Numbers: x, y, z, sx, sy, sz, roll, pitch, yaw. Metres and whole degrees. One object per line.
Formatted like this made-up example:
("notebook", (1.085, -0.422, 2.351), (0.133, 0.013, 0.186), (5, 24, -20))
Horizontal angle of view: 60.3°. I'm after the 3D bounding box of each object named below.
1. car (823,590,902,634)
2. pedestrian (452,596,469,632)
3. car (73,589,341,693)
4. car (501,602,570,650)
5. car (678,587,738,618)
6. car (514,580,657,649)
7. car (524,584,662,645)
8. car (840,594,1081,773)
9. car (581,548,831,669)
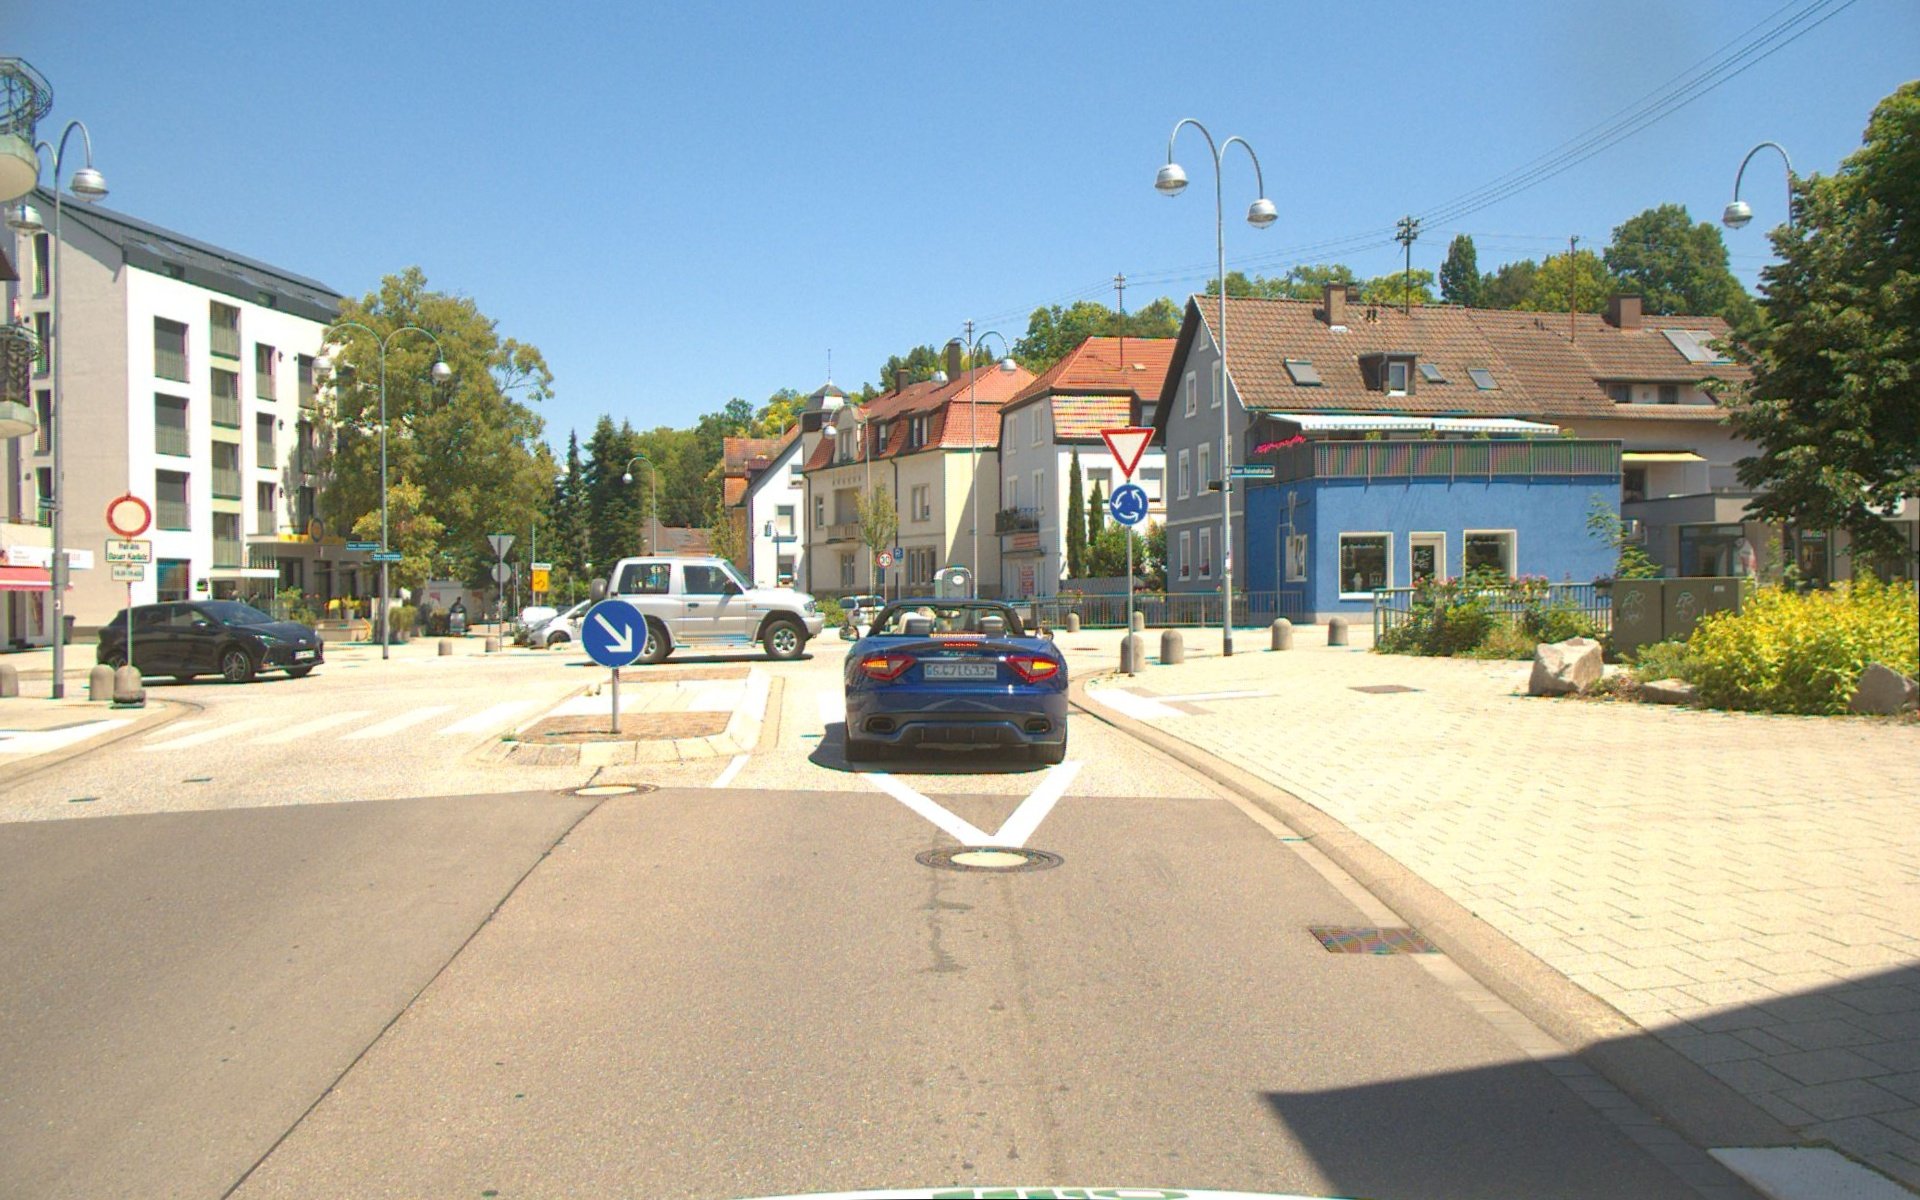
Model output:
("car", (-3.911, 0.495, 65.718), (1.892, 1.641, 4.120), (-2, -1, -22))
("pedestrian", (-22.919, 0.644, 75.929), (0.523, 1.603, 0.563), (-2, 0, 9))
("car", (-13.972, 0.743, 30.800), (4.158, 1.573, 1.813), (-4, 2, 10))
("car", (-14.976, 0.886, 58.490), (1.957, 1.535, 3.991), (-3, 0, -10))
("car", (-14.103, 0.143, 92.443), (1.833, 1.616, 3.956), (-3, 1, -32))
("car", (-8.248, 0.319, 36.195), (1.972, 1.353, 4.160), (-2, 0, -29))
("car", (-9.943, 0.383, 44.811), (3.412, 1.476, 1.569), (-2, 0, -23))
("car", (-0.021, 0.643, 14.995), (1.872, 1.384, 4.285), (0, 0, -1))
("car", (-4.414, 0.138, 29.217), (4.133, 1.907, 1.762), (-2, 0, -3))
